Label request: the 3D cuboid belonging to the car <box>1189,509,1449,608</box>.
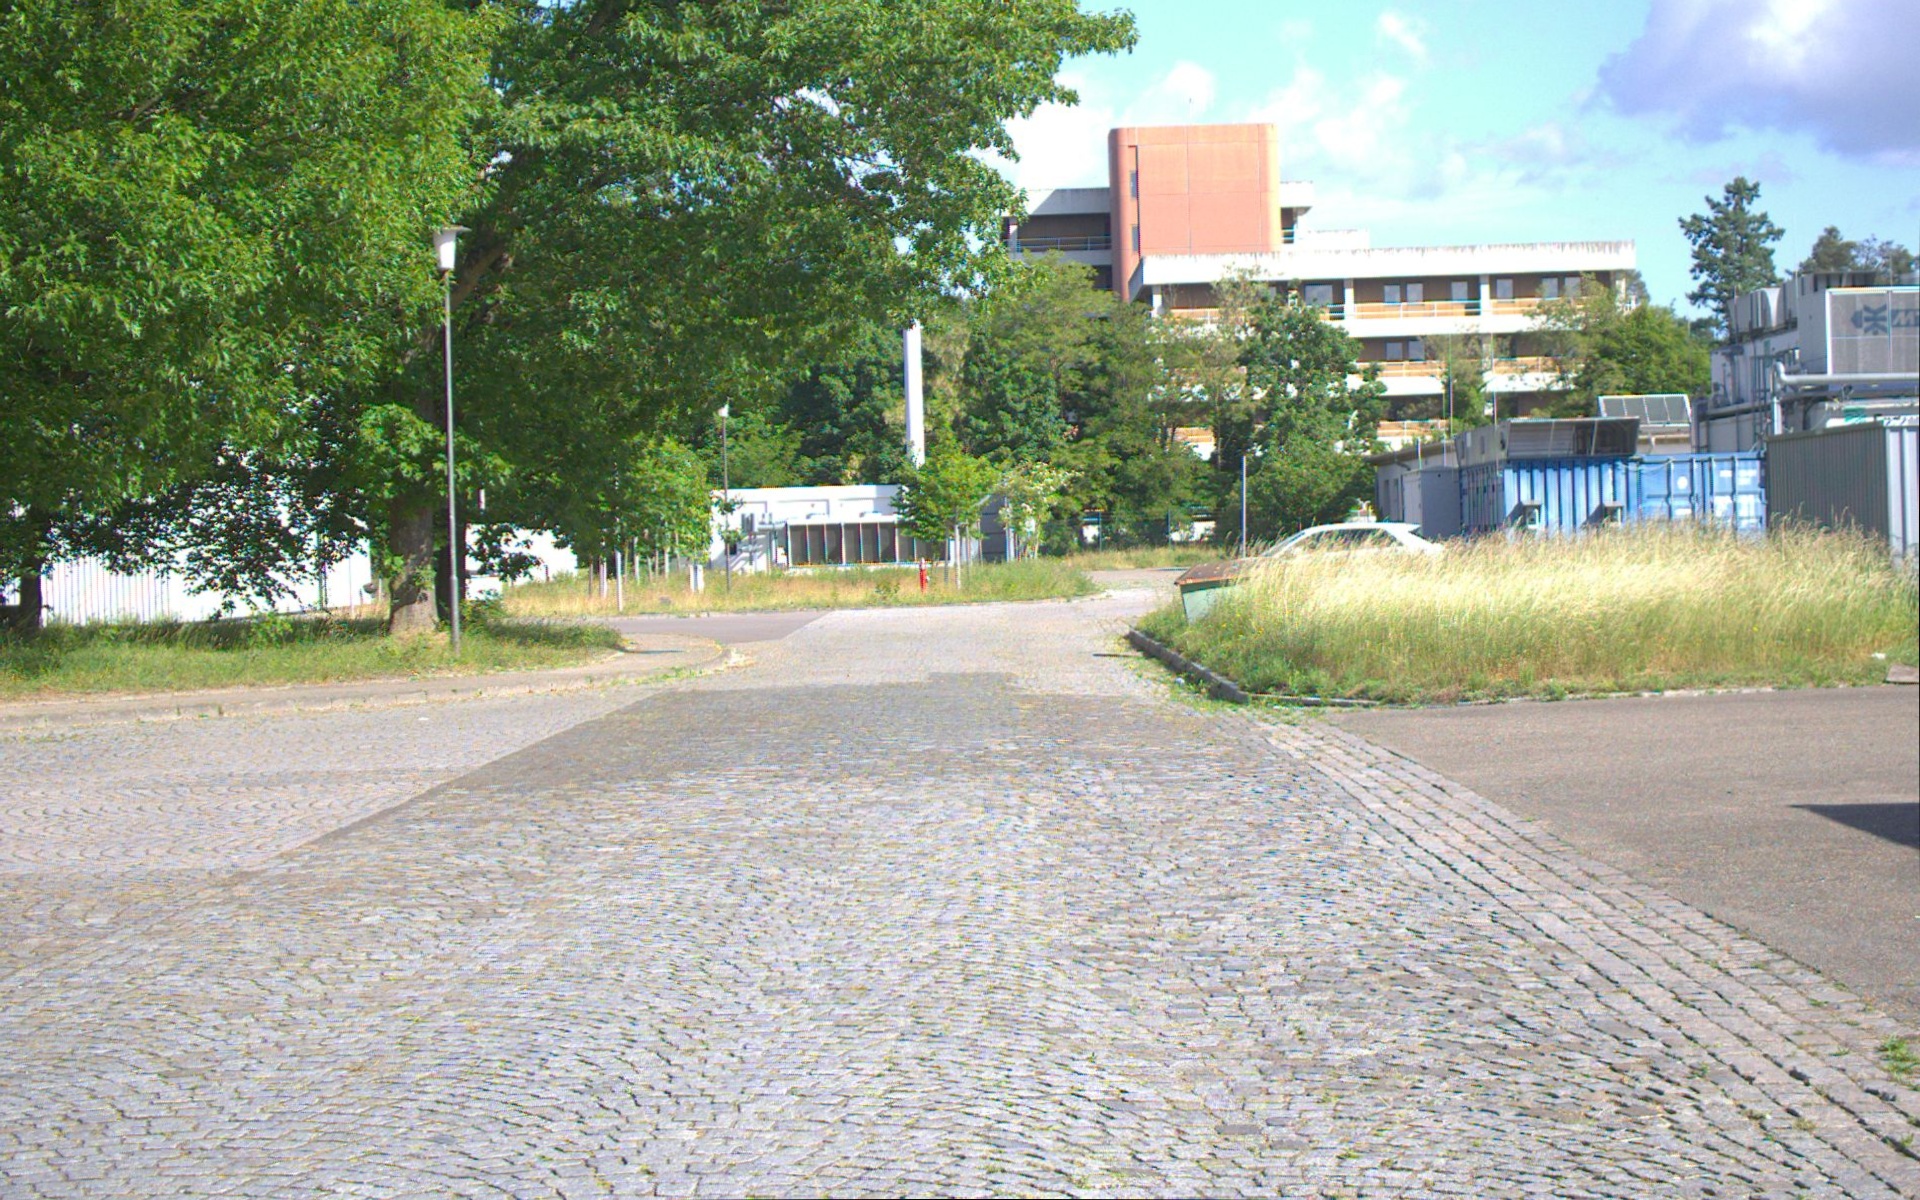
[{"bbox_3d":[6.587,-0.776,63.406,4.504,1.642,2.000,-2,1,-1],"label":"car"}]
